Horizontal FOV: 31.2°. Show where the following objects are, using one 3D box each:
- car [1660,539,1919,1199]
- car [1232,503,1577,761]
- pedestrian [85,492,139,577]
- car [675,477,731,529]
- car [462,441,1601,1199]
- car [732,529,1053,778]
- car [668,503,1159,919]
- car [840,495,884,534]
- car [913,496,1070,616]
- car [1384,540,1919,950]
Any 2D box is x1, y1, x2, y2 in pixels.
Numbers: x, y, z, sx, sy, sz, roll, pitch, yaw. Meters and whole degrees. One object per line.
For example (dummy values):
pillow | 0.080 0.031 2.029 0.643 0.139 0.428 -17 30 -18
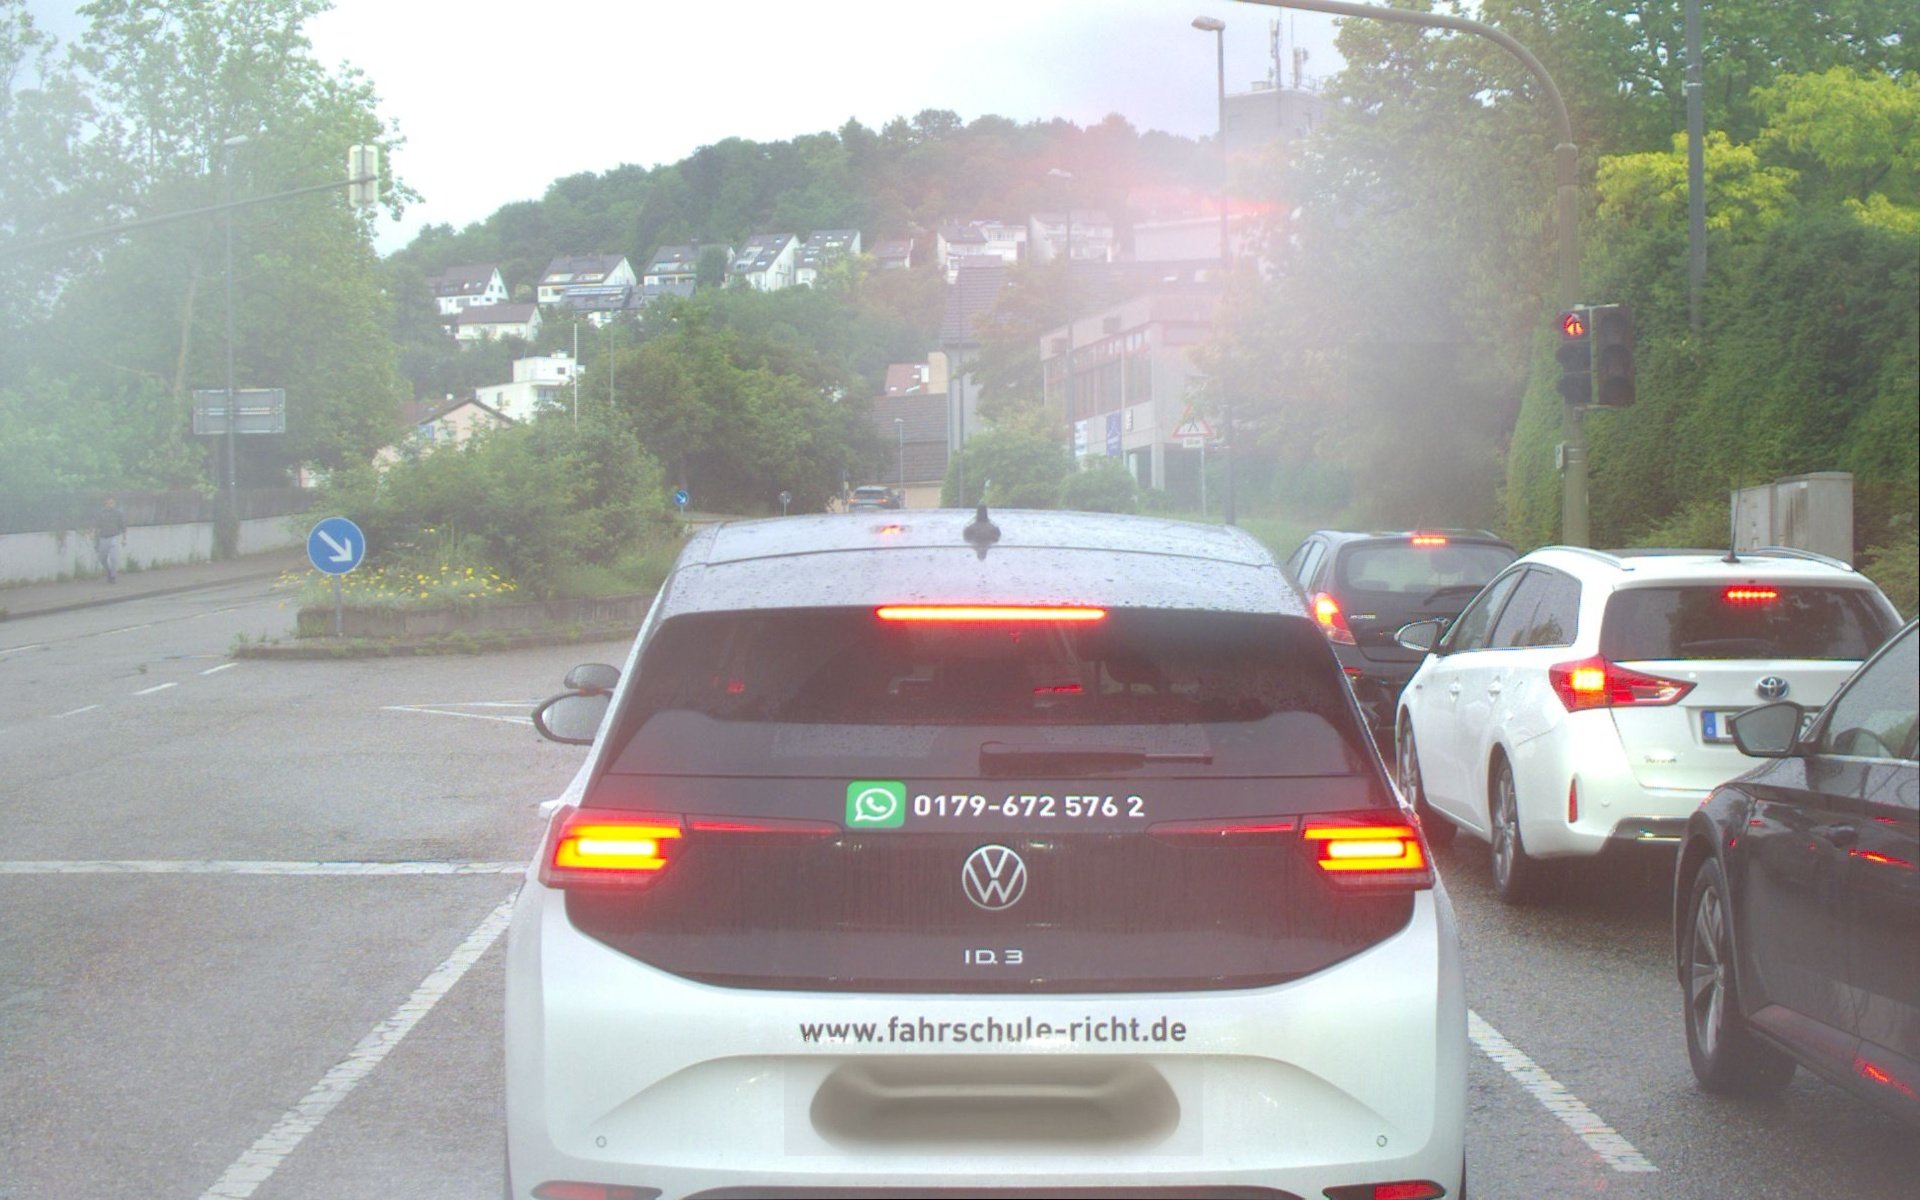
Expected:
car | 2.870 0.631 7.465 1.838 1.461 4.350 1 1 1
car | 2.924 0.174 23.404 1.775 1.576 4.000 1 1 0
pedestrian | -16.079 -1.246 65.226 0.760 1.562 0.825 -2 1 -1
car | -10.483 -3.937 140.407 1.993 2.007 4.000 1 0 0
car | 0.066 0.516 7.934 1.837 1.623 4.616 1 1 -1
car | -0.431 0.274 21.904 1.837 1.395 3.831 1 1 -1
car | -0.221 0.373 15.182 1.837 1.549 4.175 1 1 -1
car | -4.281 -3.724 150.164 1.775 1.576 4.000 -2 1 0
car | 0.365 -0.589 43.831 1.761 1.413 3.749 -1 2 -3
car | 3.053 0.506 14.786 1.837 1.461 4.117 1 1 -1
